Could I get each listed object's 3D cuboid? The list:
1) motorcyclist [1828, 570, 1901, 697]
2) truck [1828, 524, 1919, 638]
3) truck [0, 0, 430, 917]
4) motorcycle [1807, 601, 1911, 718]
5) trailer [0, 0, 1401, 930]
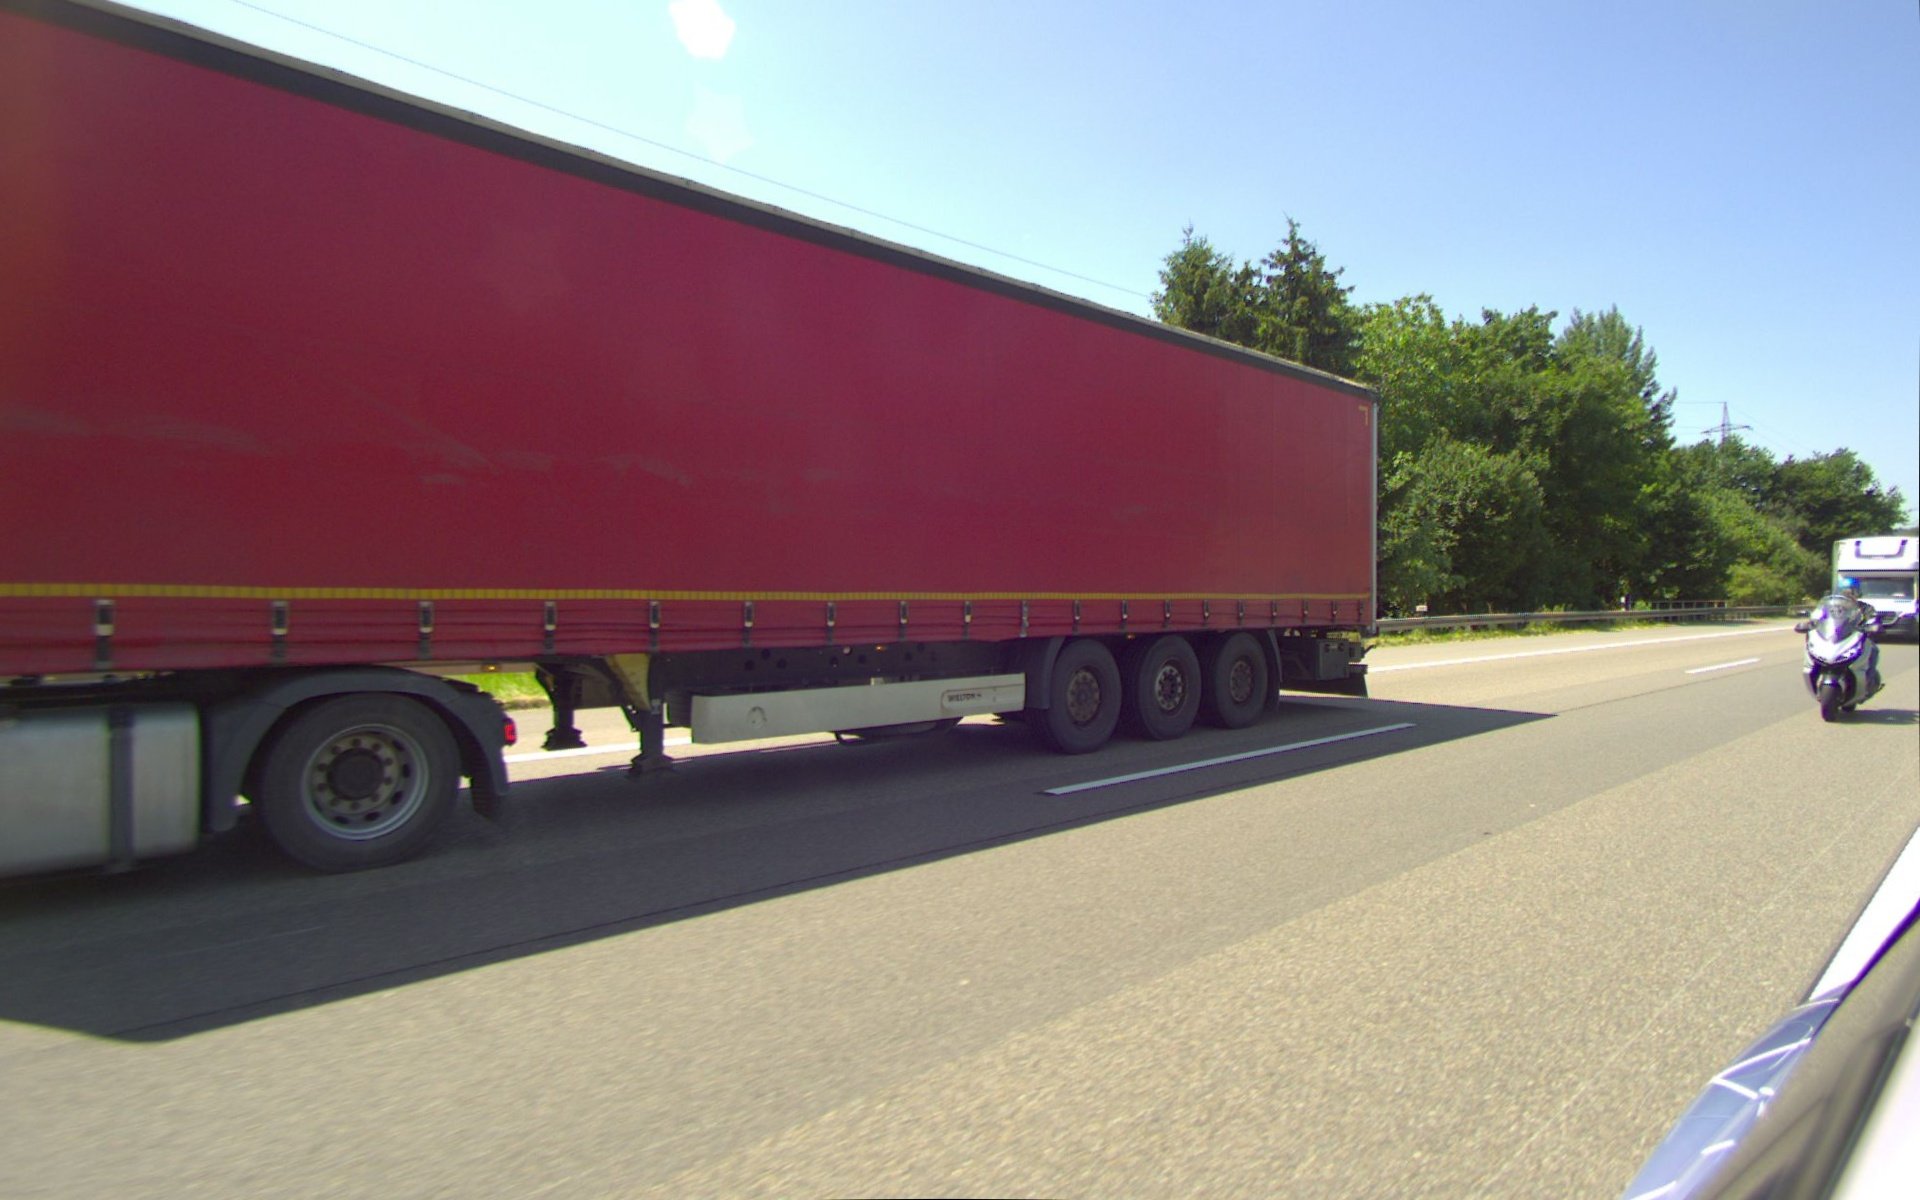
[{"bbox_3d":[11.265,0.397,12.605,0.504,1.527,0.613,0,0,-39],"label":"motorcyclist"},{"bbox_3d":[30.484,-0.603,32.831,7.968,3.328,2.510,-1,1,-42],"label":"truck"},{"bbox_3d":[-5.906,-0.781,4.232,6.140,4.206,2.565,0,0,-41],"label":"truck"},{"bbox_3d":[11.124,0.679,12.497,2.272,1.303,0.630,0,0,-40],"label":"motorcycle"},{"bbox_3d":[-0.082,-0.864,9.411,12.809,4.317,2.604,-1,0,-42],"label":"trailer"}]
